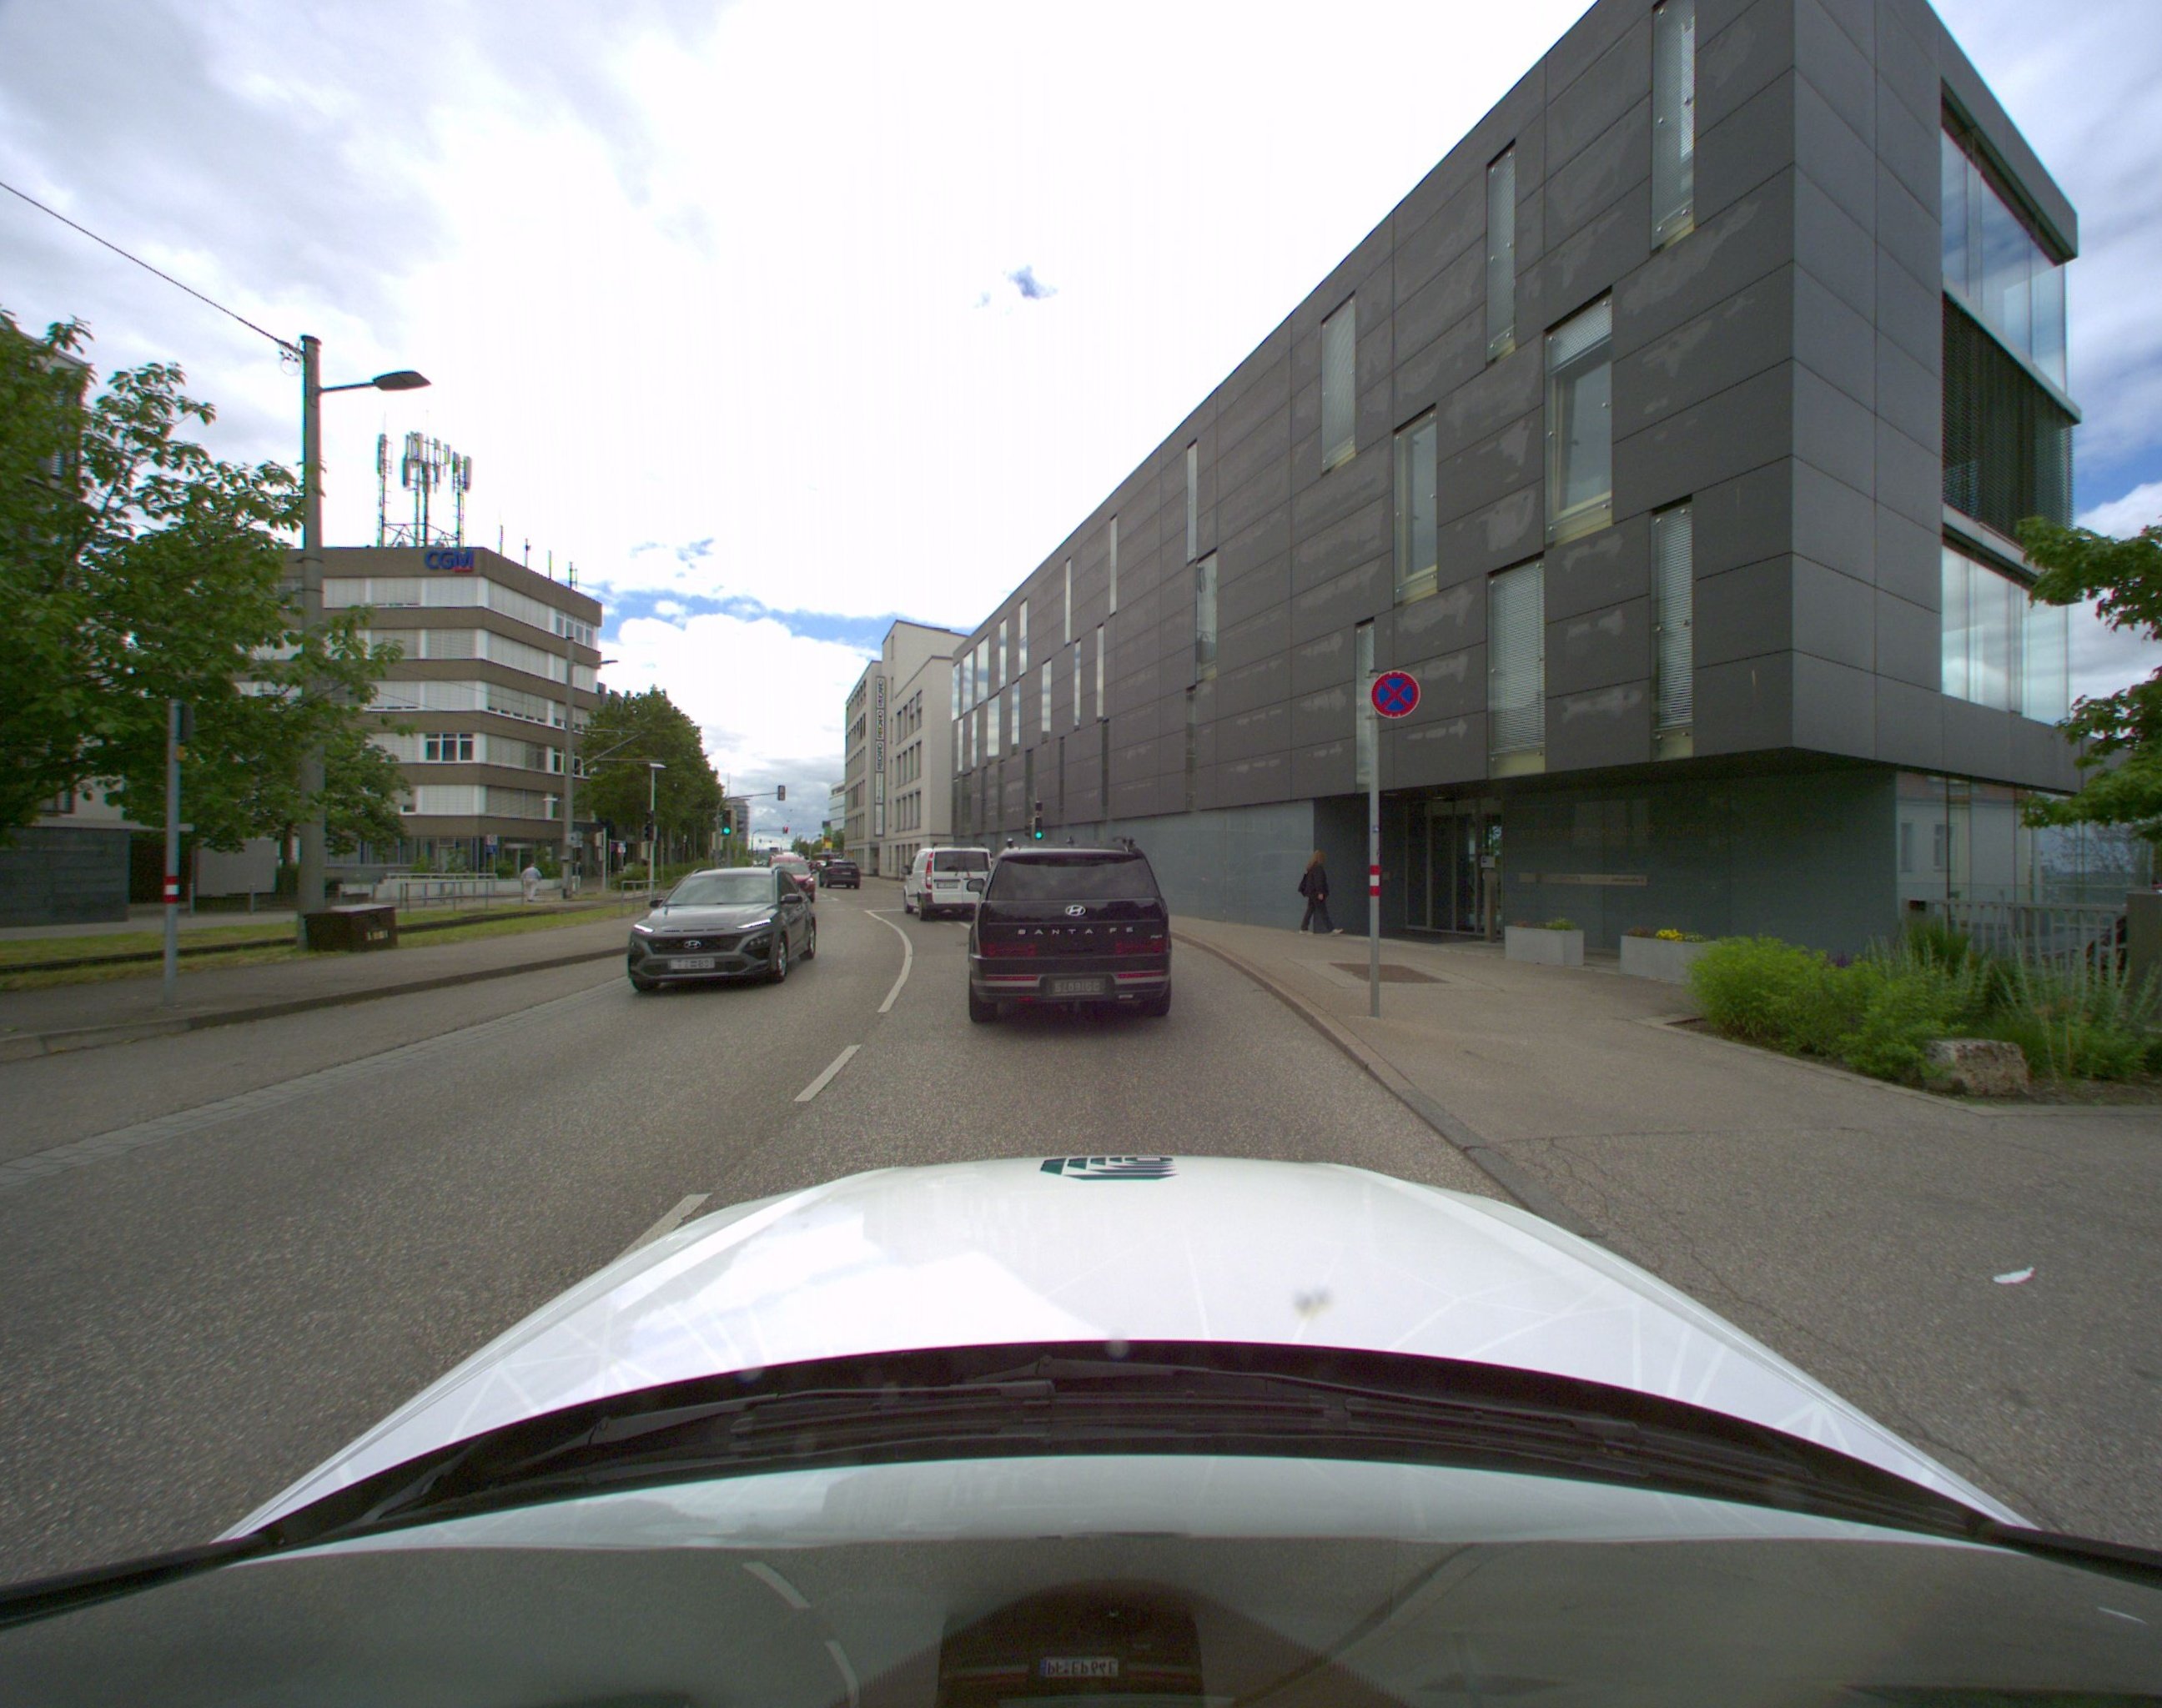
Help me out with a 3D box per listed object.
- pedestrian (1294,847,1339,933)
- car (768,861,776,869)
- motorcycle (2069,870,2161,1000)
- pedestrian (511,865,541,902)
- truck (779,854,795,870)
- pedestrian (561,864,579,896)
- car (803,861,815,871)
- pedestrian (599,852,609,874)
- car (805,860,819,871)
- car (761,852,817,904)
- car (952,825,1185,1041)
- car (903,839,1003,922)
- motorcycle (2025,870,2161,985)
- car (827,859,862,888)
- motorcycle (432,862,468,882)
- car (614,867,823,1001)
[{"bbox_3d":[4.744,0.708,16.395,0.856,1.694,0.717,0,-1,16],"label":"pedestrian"},{"bbox_3d":[-71.906,2.606,189.655,1.673,1.882,3.972,0,-1,-21],"label":"car"},{"bbox_3d":[12.135,0.891,8.577,0.669,1.393,2.113,0,0,-16],"label":"motorcycle"},{"bbox_3d":[-23.210,1.223,34.065,0.851,1.526,0.988,-1,-1,-24],"label":"pedestrian"},{"bbox_3d":[-49.058,1.381,135.998,2.175,2.616,5.751,0,-1,-23],"label":"truck"},{"bbox_3d":[-28.036,1.402,44.721,0.690,1.705,0.678,-1,-1,-20],"label":"pedestrian"},{"bbox_3d":[-45.029,1.902,134.802,1.765,1.609,4.161,0,-1,-19],"label":"car"},{"bbox_3d":[-44.307,0.859,75.688,0.684,2.014,0.566,0,-1,-23],"label":"pedestrian"},{"bbox_3d":[-38.986,1.680,117.990,1.765,1.609,4.161,0,-1,-19],"label":"car"},{"bbox_3d":[-11.248,0.897,31.209,1.688,1.808,4.318,-2,0,-23],"label":"car"},{"bbox_3d":[-0.204,0.660,8.915,1.904,1.749,4.391,-1,0,-3],"label":"car"},{"bbox_3d":[-3.596,0.658,22.176,1.938,1.994,4.505,0,-1,-19],"label":"car"},{"bbox_3d":[13.613,0.912,10.088,0.669,1.393,2.450,0,-1,-16],"label":"motorcycle"},{"bbox_3d":[-13.662,1.083,46.940,1.764,1.609,4.162,0,-1,-18],"label":"car"},{"bbox_3d":[-39.386,1.126,50.849,1.871,1.199,0.569,0,-1,3],"label":"motorcycle"},{"bbox_3d":[-4.908,0.970,11.636,1.768,1.479,3.986,-2,0,-10],"label":"car"}]
